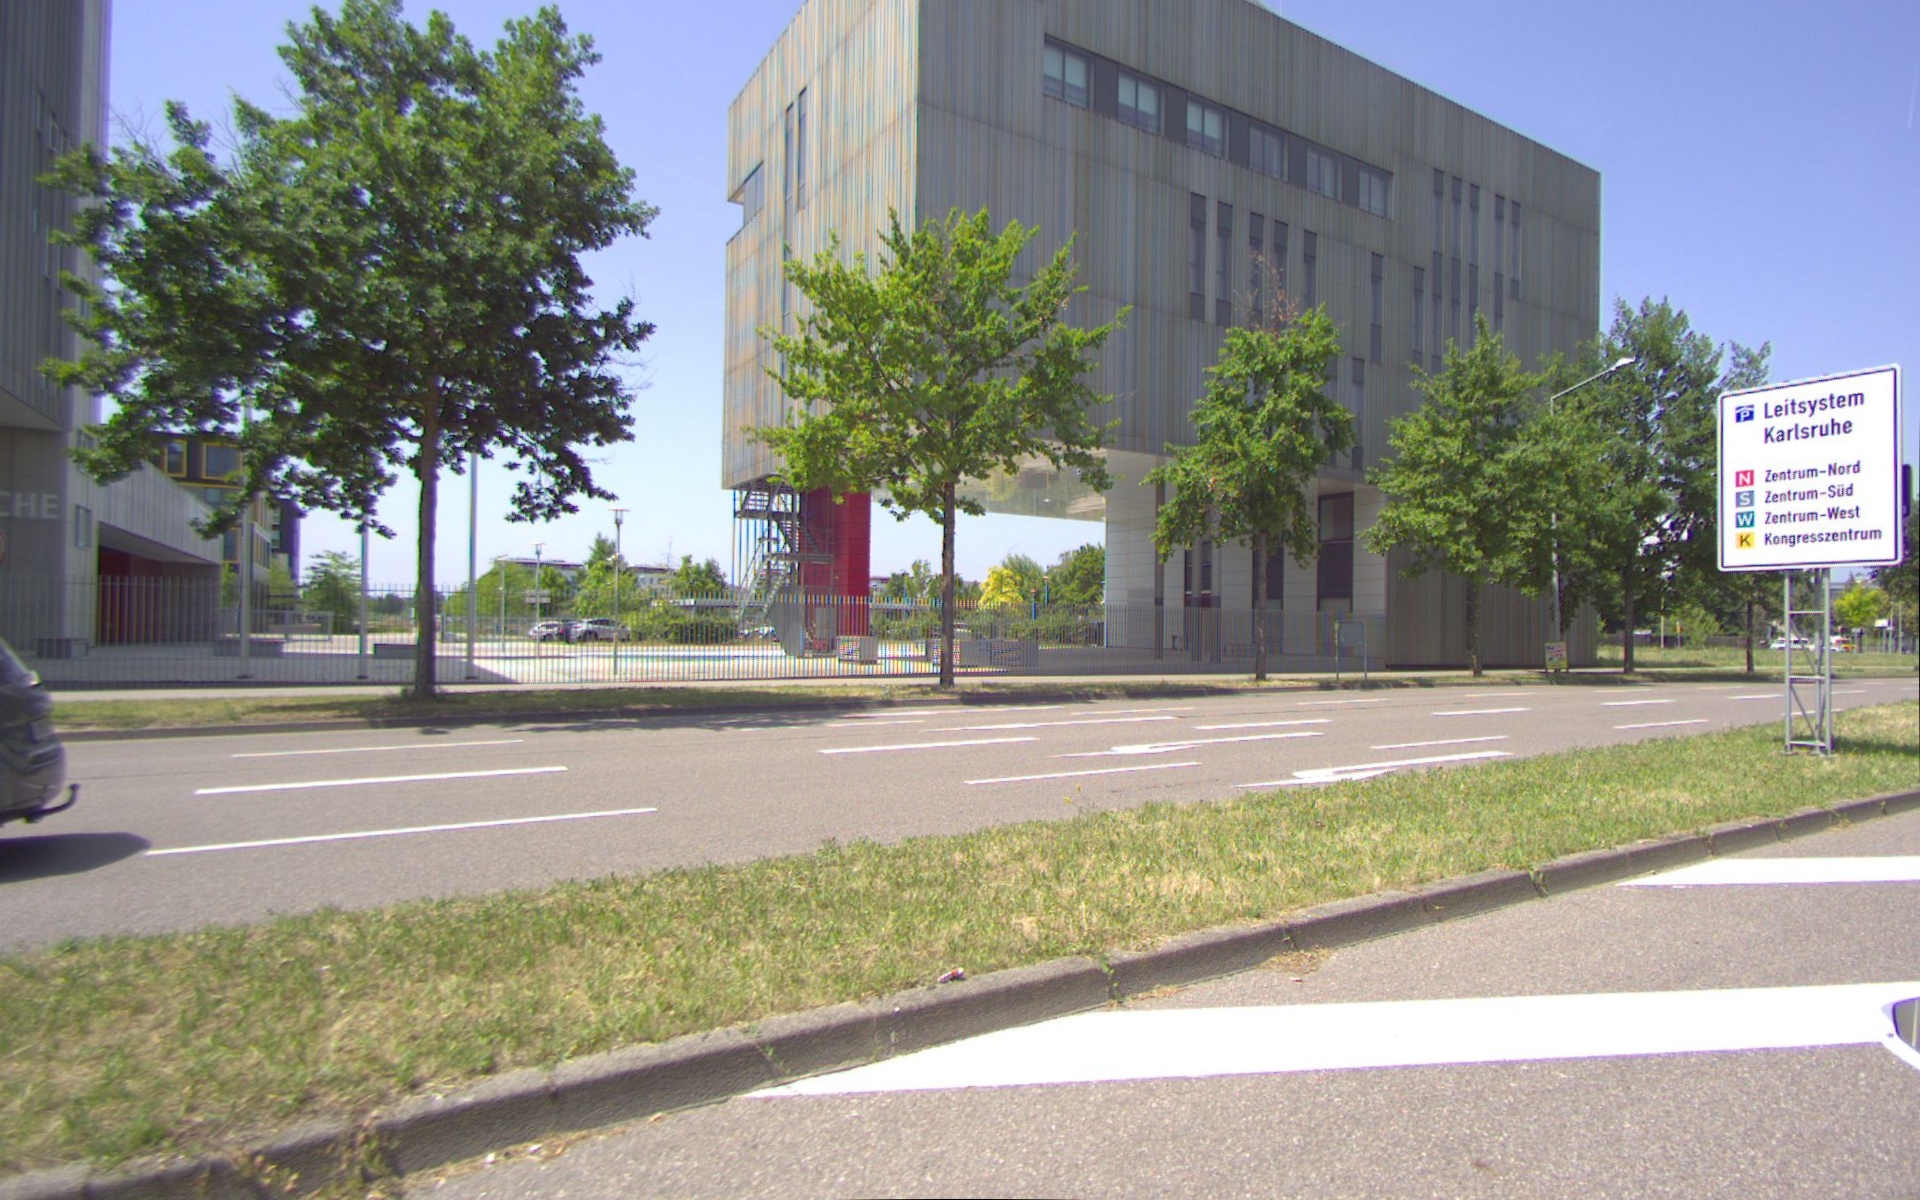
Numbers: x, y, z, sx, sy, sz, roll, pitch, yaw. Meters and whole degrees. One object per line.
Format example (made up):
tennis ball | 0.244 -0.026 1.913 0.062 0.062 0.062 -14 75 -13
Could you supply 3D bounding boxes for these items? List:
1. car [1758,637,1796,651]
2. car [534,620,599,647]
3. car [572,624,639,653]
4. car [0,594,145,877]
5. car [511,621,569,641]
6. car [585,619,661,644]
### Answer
car | 125.437 6.761 154.262 4.205 1.903 2.000 1 -1 0
car | -25.793 2.170 65.830 3.730 1.719 1.649 1 -1 -30
car | -22.177 2.400 62.843 3.730 1.719 1.649 2 -1 -30
car | -6.830 0.711 5.158 3.899 1.491 1.698 1 -2 -33
car | -30.761 2.270 73.578 3.730 1.428 1.649 1 -1 -30
car | -20.050 1.870 59.744 3.953 1.405 1.984 2 -1 -30
